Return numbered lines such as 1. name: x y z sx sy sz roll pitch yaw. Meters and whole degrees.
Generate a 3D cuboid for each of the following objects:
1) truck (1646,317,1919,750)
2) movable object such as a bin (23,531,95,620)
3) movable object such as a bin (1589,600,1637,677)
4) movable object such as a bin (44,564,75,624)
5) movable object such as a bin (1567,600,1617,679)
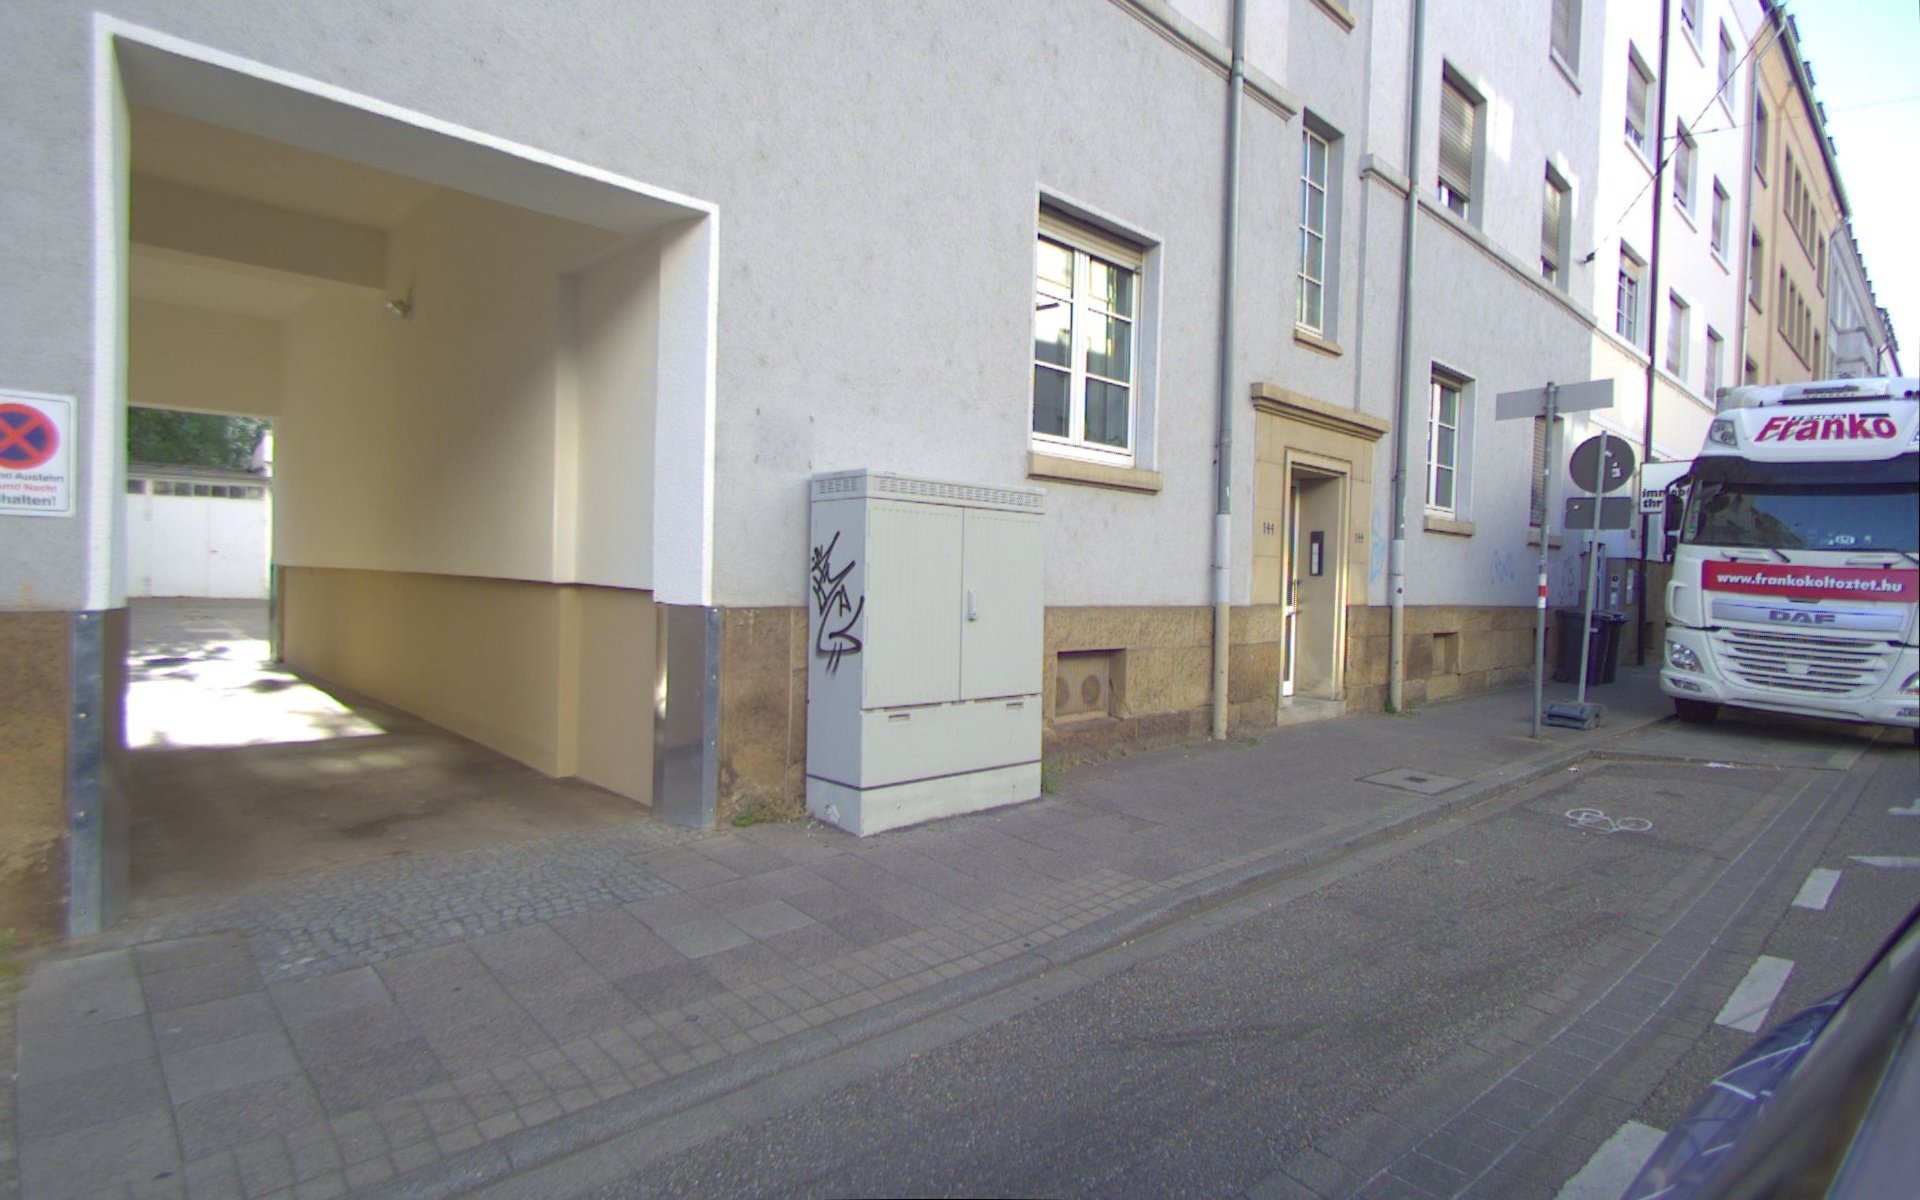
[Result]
1. truck: 12.566 -0.609 13.863 11.511 4.012 2.894 0 0 -44
2. movable object such as a bin: -14.917 -0.408 16.758 0.874 1.409 0.758 0 4 -44
3. movable object such as a bin: 9.643 0.551 14.945 0.511 1.106 0.488 0 0 45
4. movable object such as a bin: -14.380 -0.105 16.163 0.366 0.919 0.420 0 3 -44
5. movable object such as a bin: 9.072 0.554 14.530 0.511 1.106 0.488 0 0 45
